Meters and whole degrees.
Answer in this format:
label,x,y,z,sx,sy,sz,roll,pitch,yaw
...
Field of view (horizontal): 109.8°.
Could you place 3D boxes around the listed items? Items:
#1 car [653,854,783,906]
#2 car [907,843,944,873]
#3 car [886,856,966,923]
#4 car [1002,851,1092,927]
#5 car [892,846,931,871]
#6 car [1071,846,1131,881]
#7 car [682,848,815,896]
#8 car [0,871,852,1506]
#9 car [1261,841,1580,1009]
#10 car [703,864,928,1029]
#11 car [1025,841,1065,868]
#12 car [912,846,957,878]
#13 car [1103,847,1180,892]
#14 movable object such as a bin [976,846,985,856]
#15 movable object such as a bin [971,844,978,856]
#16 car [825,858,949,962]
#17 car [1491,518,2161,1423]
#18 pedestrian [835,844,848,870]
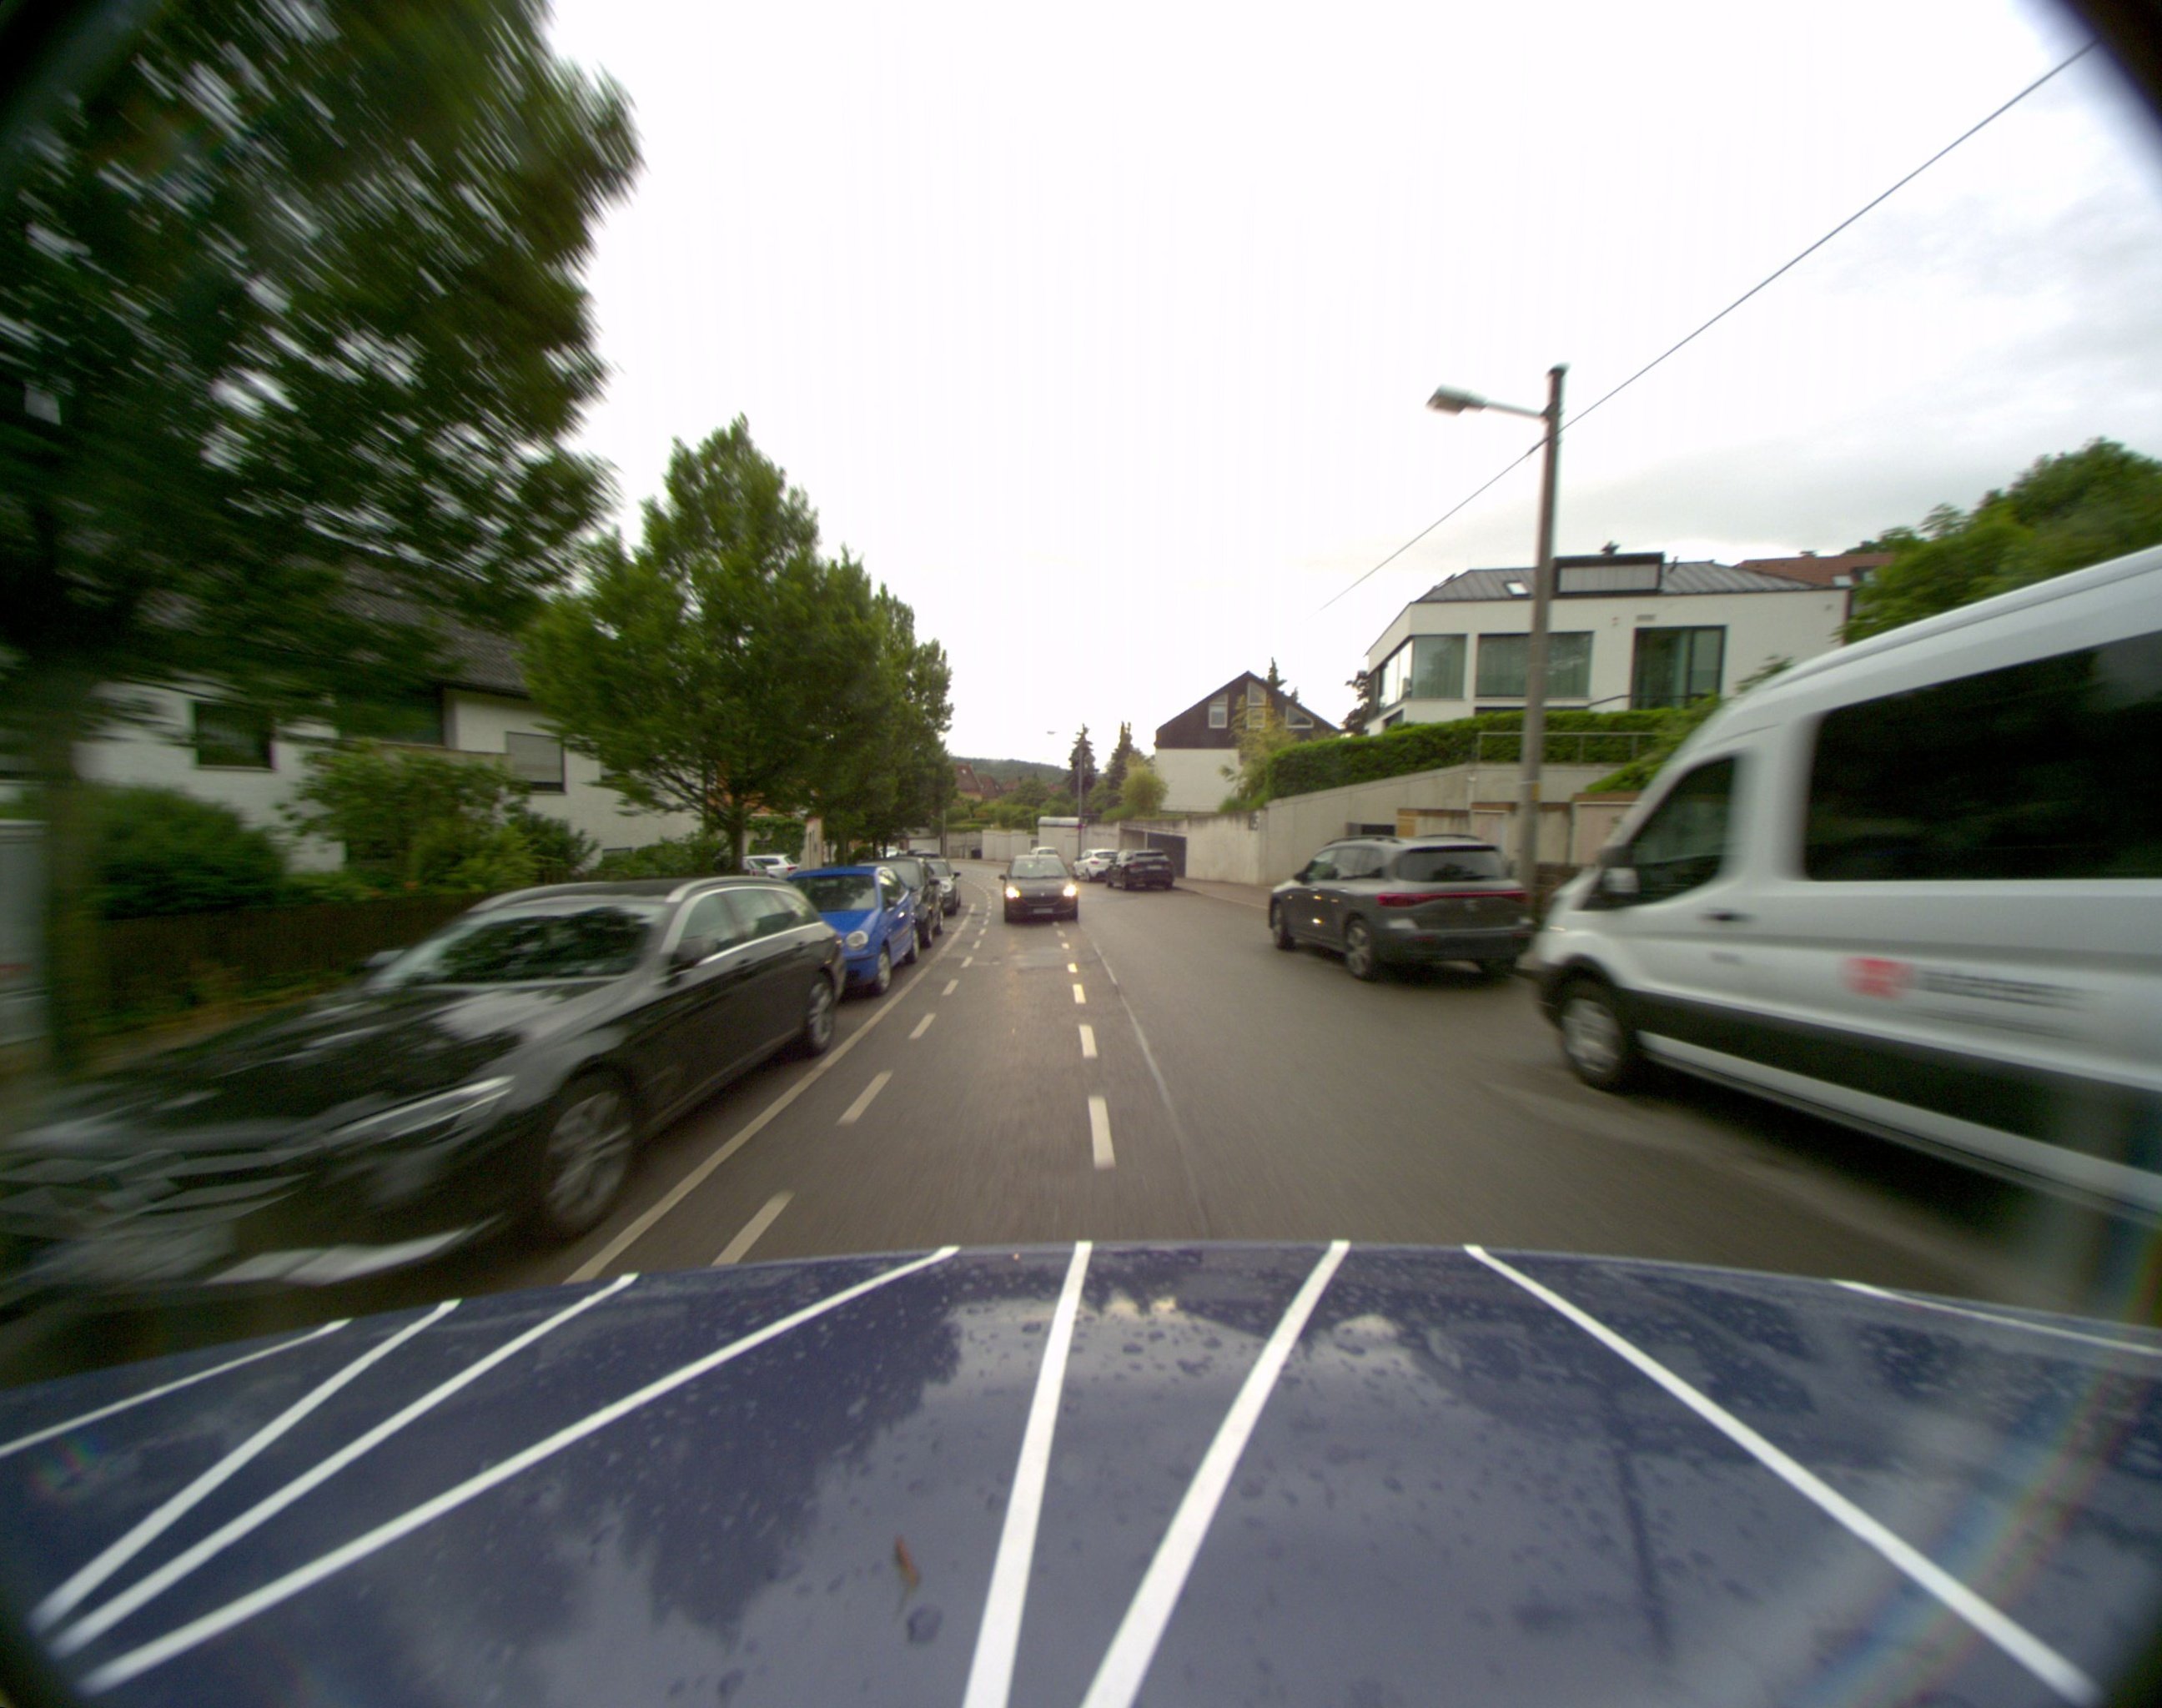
label,x,y,z,sx,sy,sz,roll,pitch,yaw
car,-12.934,0.883,27.254,3.691,1.457,1.777,-4,3,-5
car,-9.728,0.190,47.239,2.061,1.647,5.228,-2,1,-14
car,-4.045,0.863,20.316,1.673,1.463,3.707,-3,2,-6
car,-0.862,0.742,18.399,1.893,1.521,4.054,-2,1,-4
car,-11.763,0.286,52.451,1.862,1.572,4.848,-2,2,-22
car,0.849,0.398,34.913,1.839,1.432,4.034,-1,1,-13
car,-13.030,0.691,30.009,4.316,1.457,1.932,-4,4,-6
car,-2.994,1.003,4.457,1.780,1.544,4.727,-3,1,0
car,4.013,0.683,10.019,1.901,1.681,4.542,-1,1,-5
car,-3.127,0.975,9.823,1.659,1.511,3.998,-2,1,-4
car,-2.261,0.004,46.777,1.633,1.507,3.826,-1,1,-16
car,-8.108,0.386,41.677,1.869,1.461,5.047,-4,2,-16
car,2.129,0.490,28.217,1.718,1.451,4.677,-1,1,-10
movable object such as a bin,-9.958,-0.298,75.075,0.608,0.987,0.601,-2,3,14
movable object such as a bin,-10.535,-0.399,75.205,0.528,1.140,0.601,-2,4,14
car,-3.397,0.908,13.819,1.631,1.554,3.020,-2,1,-4
car,4.086,0.314,2.684,2.099,2.535,6.097,-1,1,1
pedestrian,-15.989,0.214,50.747,0.763,1.710,0.901,1,1,-22
